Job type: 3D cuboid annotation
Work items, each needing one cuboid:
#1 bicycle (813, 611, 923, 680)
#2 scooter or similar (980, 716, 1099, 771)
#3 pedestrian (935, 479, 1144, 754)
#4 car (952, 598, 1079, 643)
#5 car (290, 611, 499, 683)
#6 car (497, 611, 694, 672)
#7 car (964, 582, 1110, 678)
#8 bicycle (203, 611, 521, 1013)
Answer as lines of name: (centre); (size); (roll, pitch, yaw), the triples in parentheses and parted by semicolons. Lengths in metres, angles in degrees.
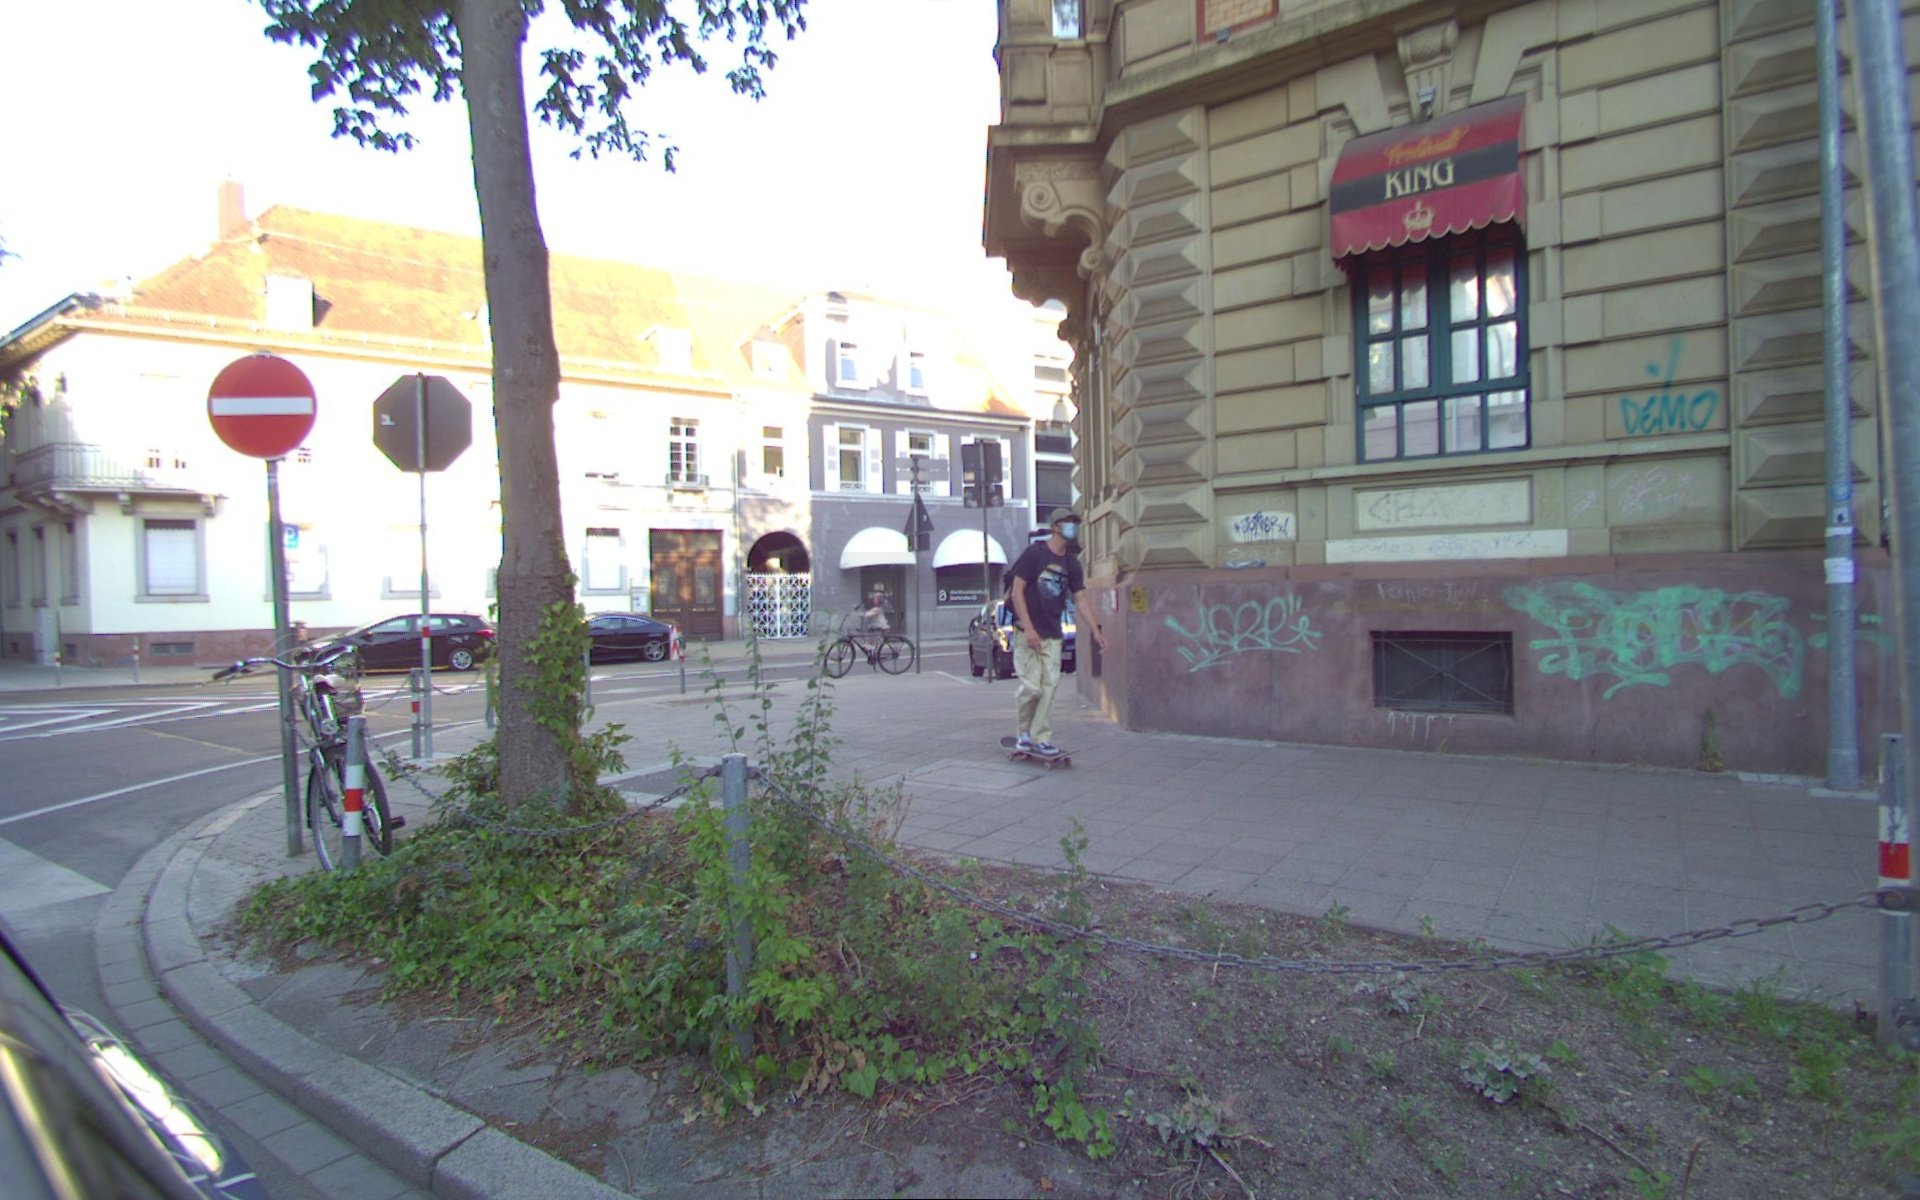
bicycle: (-1.638, 0.806, 18.079); (1.772, 1.134, 0.730); (-2, -3, -24)
scooter or similar: (0.543, 1.001, 7.150); (0.411, 0.208, 0.885); (-4, 3, -29)
pedestrian: (0.528, 0.107, 7.203); (0.836, 1.752, 1.270); (-3, -1, -29)
car: (1.968, 0.694, 35.552); (4.178, 1.458, 1.753); (-1, 0, -32)
car: (-13.886, 1.100, 24.974); (4.356, 1.553, 1.812); (-1, -1, -32)
car: (-9.849, 1.080, 27.459); (4.775, 1.405, 1.784); (-1, -1, -31)
car: (1.228, 0.581, 17.874); (1.713, 1.472, 3.869); (-2, -3, -8)
bicycle: (-2.787, 0.712, 4.521); (0.832, 1.277, 2.577); (0, -1, -39)
